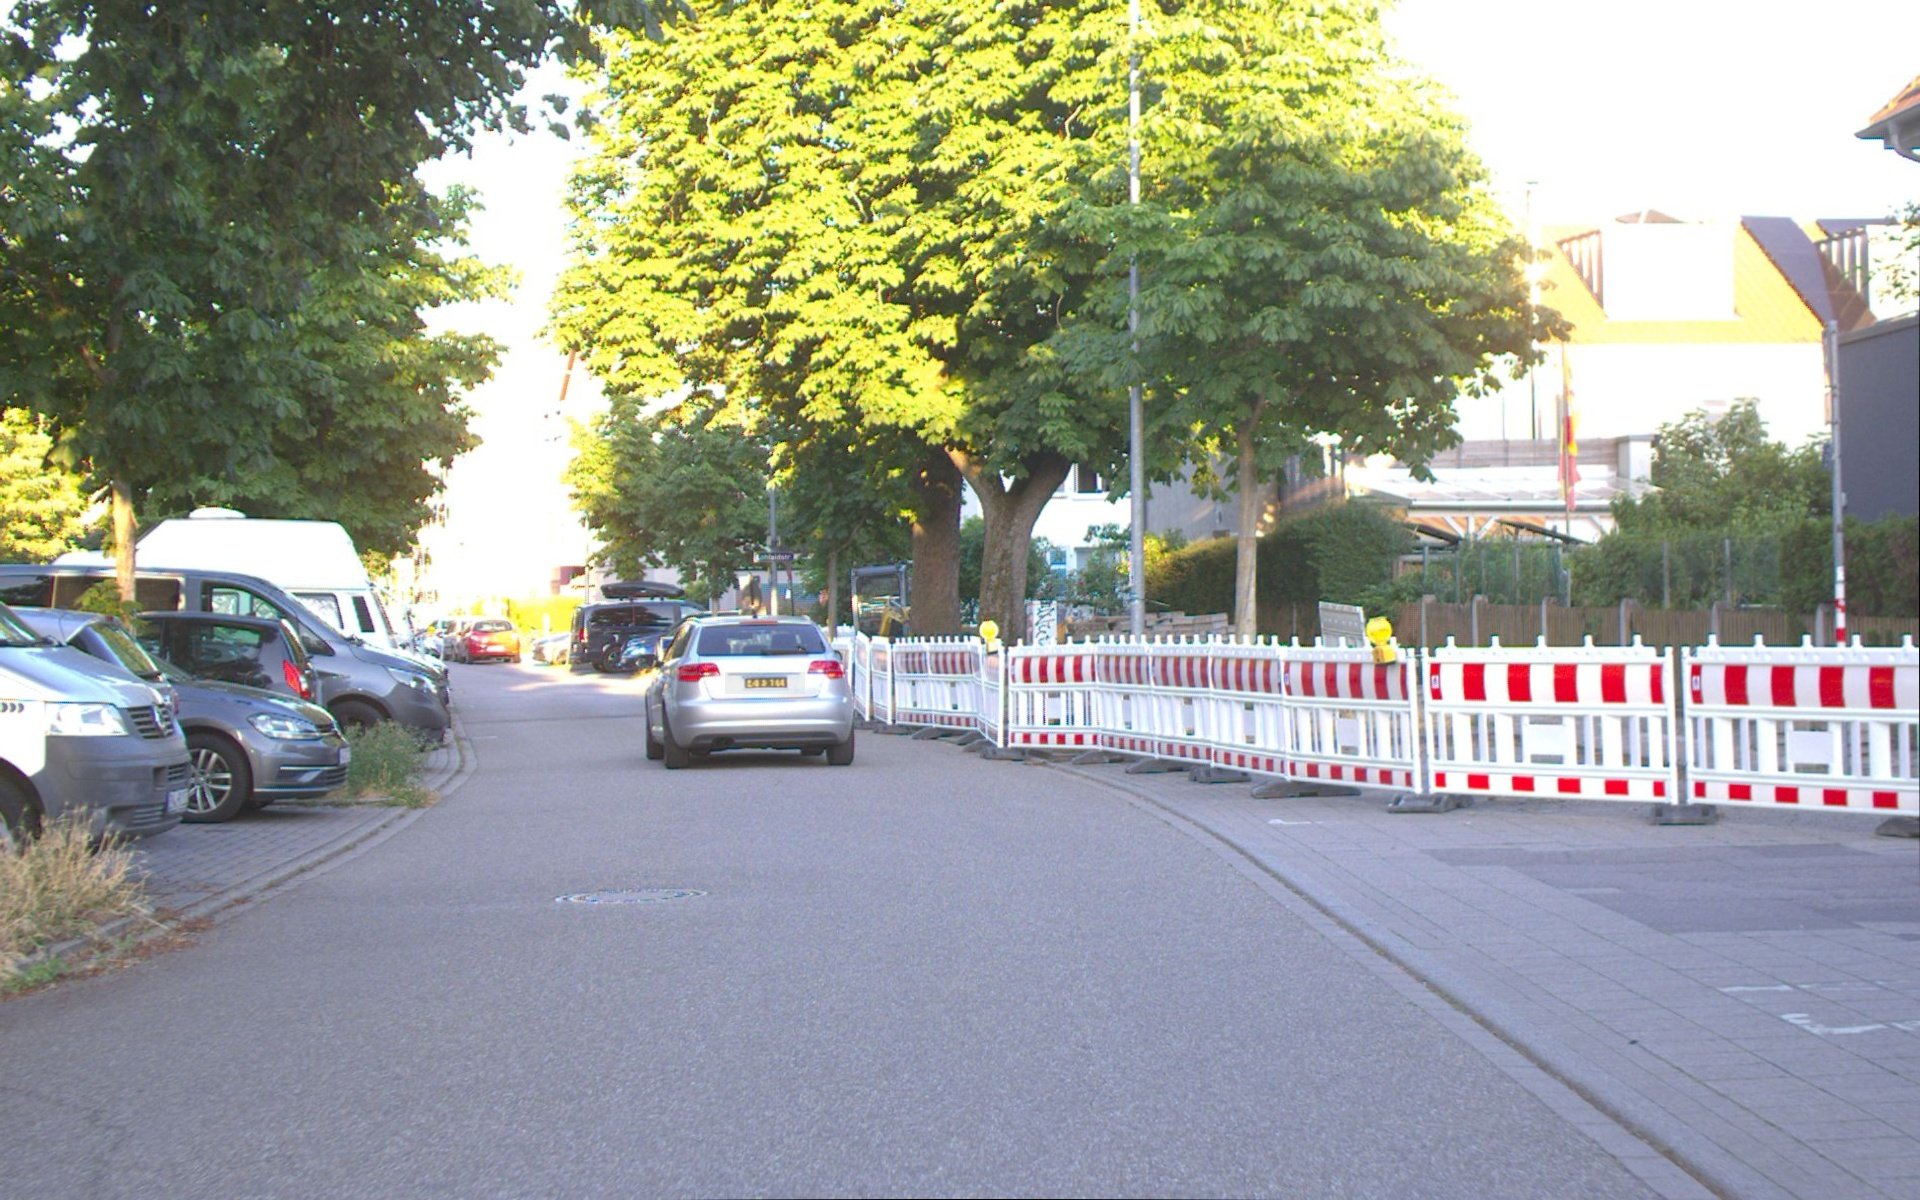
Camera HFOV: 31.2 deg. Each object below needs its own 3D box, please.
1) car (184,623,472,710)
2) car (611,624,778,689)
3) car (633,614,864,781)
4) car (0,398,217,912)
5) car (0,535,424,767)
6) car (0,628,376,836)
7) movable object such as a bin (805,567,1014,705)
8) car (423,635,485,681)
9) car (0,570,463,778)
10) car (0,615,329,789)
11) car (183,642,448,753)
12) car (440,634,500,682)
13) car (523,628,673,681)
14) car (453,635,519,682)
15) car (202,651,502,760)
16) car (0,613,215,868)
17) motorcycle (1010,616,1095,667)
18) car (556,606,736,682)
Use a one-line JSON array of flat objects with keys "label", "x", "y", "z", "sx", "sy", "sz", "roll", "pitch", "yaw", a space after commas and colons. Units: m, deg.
[{"label": "car", "x": -10.792, "y": 1.137, "z": 58.881, "sx": 4.771, "sy": 1.465, "sz": 1.881, "roll": 0, "pitch": -1, "yaw": -9}, {"label": "car", "x": -6.863, "y": 1.453, "z": 88.927, "sx": 3.986, "sy": 1.645, "sz": 1.765, "roll": 0, "pitch": -1, "yaw": -20}, {"label": "car", "x": -2.079, "y": 0.891, "z": 32.822, "sx": 1.807, "sy": 1.483, "sz": 4.001, "roll": 0, "pitch": -1, "yaw": -9}, {"label": "car", "x": -6.504, "y": 0.274, "z": 18.140, "sx": 4.731, "sy": 2.561, "sz": 2.000, "roll": 0, "pitch": -1, "yaw": 0}, {"label": "car", "x": -8.119, "y": 0.546, "z": 37.275, "sx": 4.501, "sy": 2.423, "sz": 2.000, "roll": 0, "pitch": -1, "yaw": -7}, {"label": "car", "x": -6.369, "y": 0.894, "z": 24.186, "sx": 4.243, "sy": 1.389, "sz": 1.684, "roll": 1, "pitch": -1, "yaw": -1}, {"label": "movable object such as a bin", "x": -0.984, "y": 0.646, "z": 62.513, "sx": 2.627, "sy": 2.395, "sz": 5.198, "roll": 0, "pitch": 0, "yaw": -15}, {"label": "car", "x": -17.785, "y": 2.023, "z": 120.671, "sx": 1.808, "sy": 1.607, "sz": 3.581, "roll": 0, "pitch": 0, "yaw": -14}, {"label": "car", "x": -7.020, "y": 0.679, "z": 32.070, "sx": 4.672, "sy": 1.867, "sz": 2.000, "roll": 0, "pitch": 0, "yaw": -7}, {"label": "car", "x": -7.393, "y": 0.853, "z": 29.487, "sx": 3.768, "sy": 1.434, "sz": 1.656, "roll": 1, "pitch": -1, "yaw": -6}, {"label": "car", "x": -11.981, "y": 1.801, "z": 64.028, "sx": 4.771, "sy": 2.007, "sz": 2.000, "roll": 0, "pitch": -1, "yaw": -10}, {"label": "car", "x": -16.533, "y": 1.938, "z": 115.853, "sx": 1.663, "sy": 1.568, "sz": 3.441, "roll": 0, "pitch": 0, "yaw": -14}, {"label": "car", "x": -10.879, "y": 1.627, "z": 103.325, "sx": 4.148, "sy": 1.567, "sz": 1.798, "roll": 0, "pitch": -1, "yaw": -20}, {"label": "car", "x": -15.251, "y": 1.875, "z": 110.528, "sx": 1.729, "sy": 1.479, "sz": 3.558, "roll": 0, "pitch": 0, "yaw": -14}, {"label": "car", "x": -9.265, "y": 1.583, "z": 52.279, "sx": 4.405, "sy": 1.609, "sz": 1.900, "roll": 0, "pitch": 0, "yaw": -13}, {"label": "car", "x": -6.758, "y": 0.821, "z": 21.631, "sx": 3.803, "sy": 1.517, "sz": 1.653, "roll": 2, "pitch": -1, "yaw": -3}, {"label": "motorcycle", "x": 2.047, "y": 0.917, "z": 75.904, "sx": 1.841, "sy": 1.102, "sz": 0.581, "roll": 0, "pitch": -1, "yaw": -31}, {"label": "car", "x": -8.559, "y": 1.190, "z": 93.600, "sx": 4.555, "sy": 2.016, "sz": 2.101, "roll": 0, "pitch": -1, "yaw": -18}]
